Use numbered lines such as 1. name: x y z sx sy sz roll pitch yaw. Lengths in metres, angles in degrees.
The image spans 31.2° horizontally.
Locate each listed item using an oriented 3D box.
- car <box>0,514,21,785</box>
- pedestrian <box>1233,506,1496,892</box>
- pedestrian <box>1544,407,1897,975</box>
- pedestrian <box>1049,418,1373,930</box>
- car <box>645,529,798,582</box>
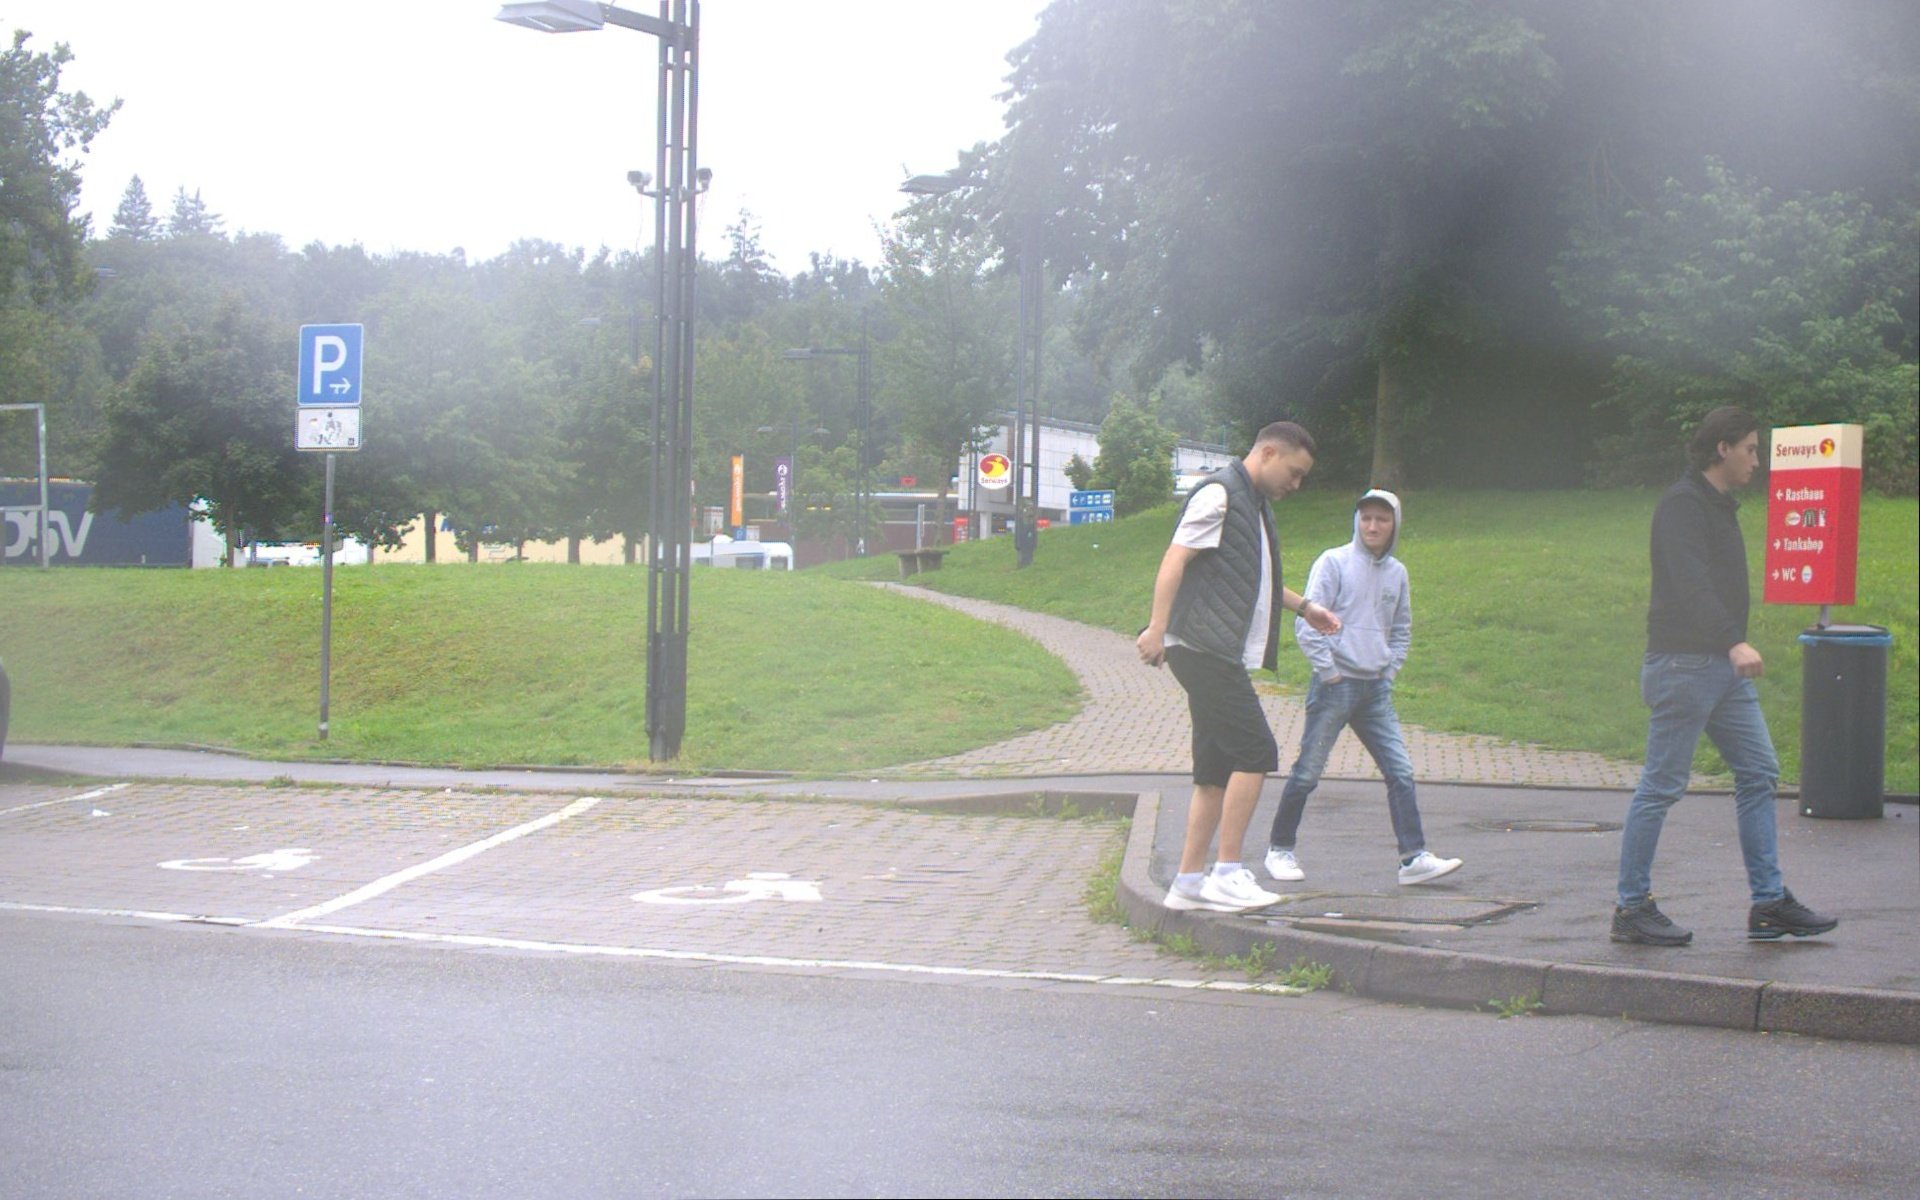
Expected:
1. car: -7.765 0.371 21.469 1.885 1.821 4.411 0 1 11
2. pedestrian: 1.679 0.386 14.236 0.890 1.544 0.659 0 1 29
3. pedestrian: 2.624 0.288 11.834 1.000 1.858 0.798 0 1 28
4. pedestrian: 0.952 0.258 12.953 0.974 1.842 0.772 0 1 28
5. car: -9.270 -1.744 133.739 5.429 2.007 2.453 1 1 20
